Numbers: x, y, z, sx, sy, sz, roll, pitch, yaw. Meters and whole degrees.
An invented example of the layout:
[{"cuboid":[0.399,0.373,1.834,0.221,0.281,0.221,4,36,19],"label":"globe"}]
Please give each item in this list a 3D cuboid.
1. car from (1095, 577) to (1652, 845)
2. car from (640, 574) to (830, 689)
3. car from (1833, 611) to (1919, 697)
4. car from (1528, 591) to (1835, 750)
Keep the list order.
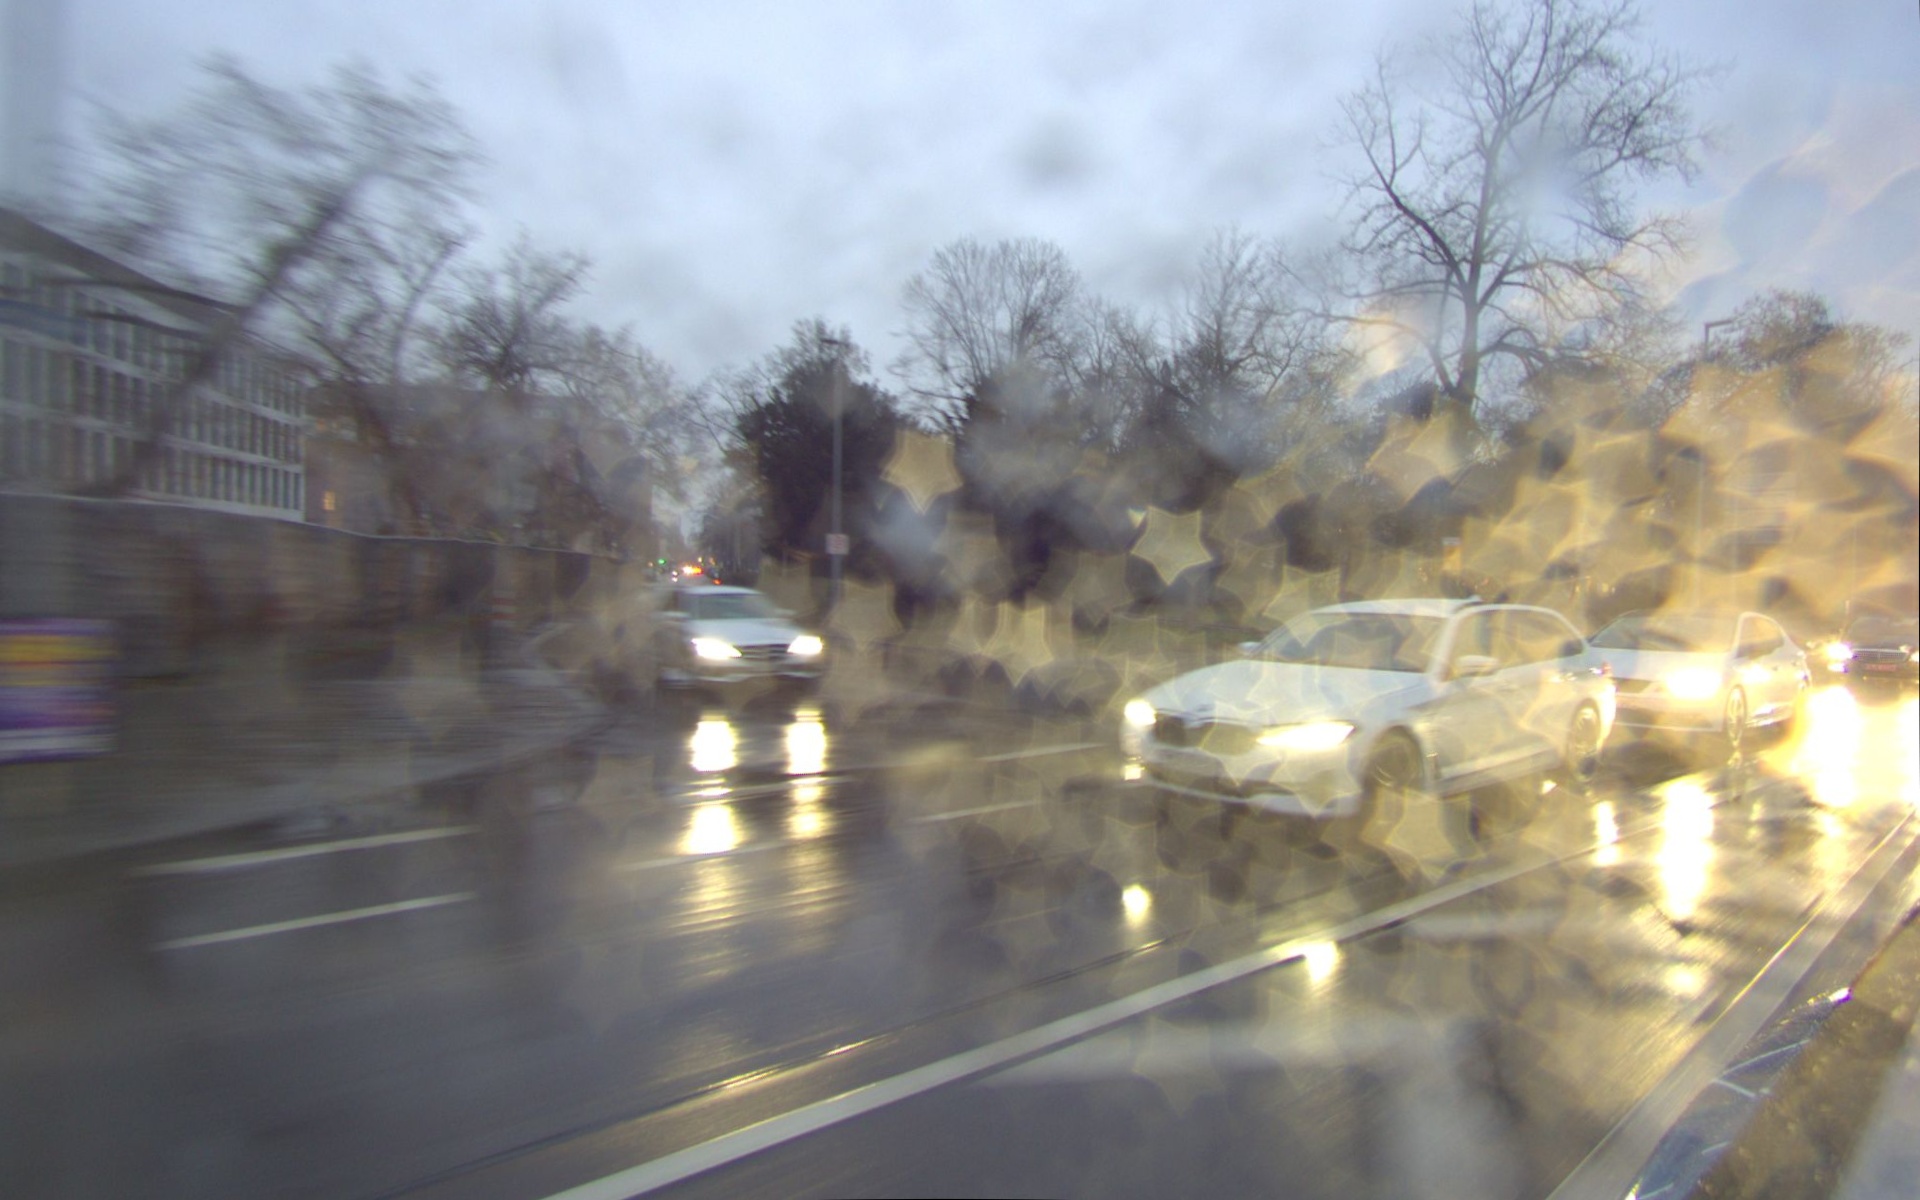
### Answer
[{"cuboid":[3.441,0.602,7.925,4.875,1.520,1.792,0,1,-37],"label":"car"},{"cuboid":[-3.705,0.377,16.009,1.843,1.507,4.525,0,2,-27],"label":"car"},{"cuboid":[19.610,1.055,20.869,4.007,1.517,1.879,-1,2,-41],"label":"car"},{"cuboid":[8.428,0.664,11.718,3.966,1.479,1.779,-1,2,-37],"label":"car"}]
